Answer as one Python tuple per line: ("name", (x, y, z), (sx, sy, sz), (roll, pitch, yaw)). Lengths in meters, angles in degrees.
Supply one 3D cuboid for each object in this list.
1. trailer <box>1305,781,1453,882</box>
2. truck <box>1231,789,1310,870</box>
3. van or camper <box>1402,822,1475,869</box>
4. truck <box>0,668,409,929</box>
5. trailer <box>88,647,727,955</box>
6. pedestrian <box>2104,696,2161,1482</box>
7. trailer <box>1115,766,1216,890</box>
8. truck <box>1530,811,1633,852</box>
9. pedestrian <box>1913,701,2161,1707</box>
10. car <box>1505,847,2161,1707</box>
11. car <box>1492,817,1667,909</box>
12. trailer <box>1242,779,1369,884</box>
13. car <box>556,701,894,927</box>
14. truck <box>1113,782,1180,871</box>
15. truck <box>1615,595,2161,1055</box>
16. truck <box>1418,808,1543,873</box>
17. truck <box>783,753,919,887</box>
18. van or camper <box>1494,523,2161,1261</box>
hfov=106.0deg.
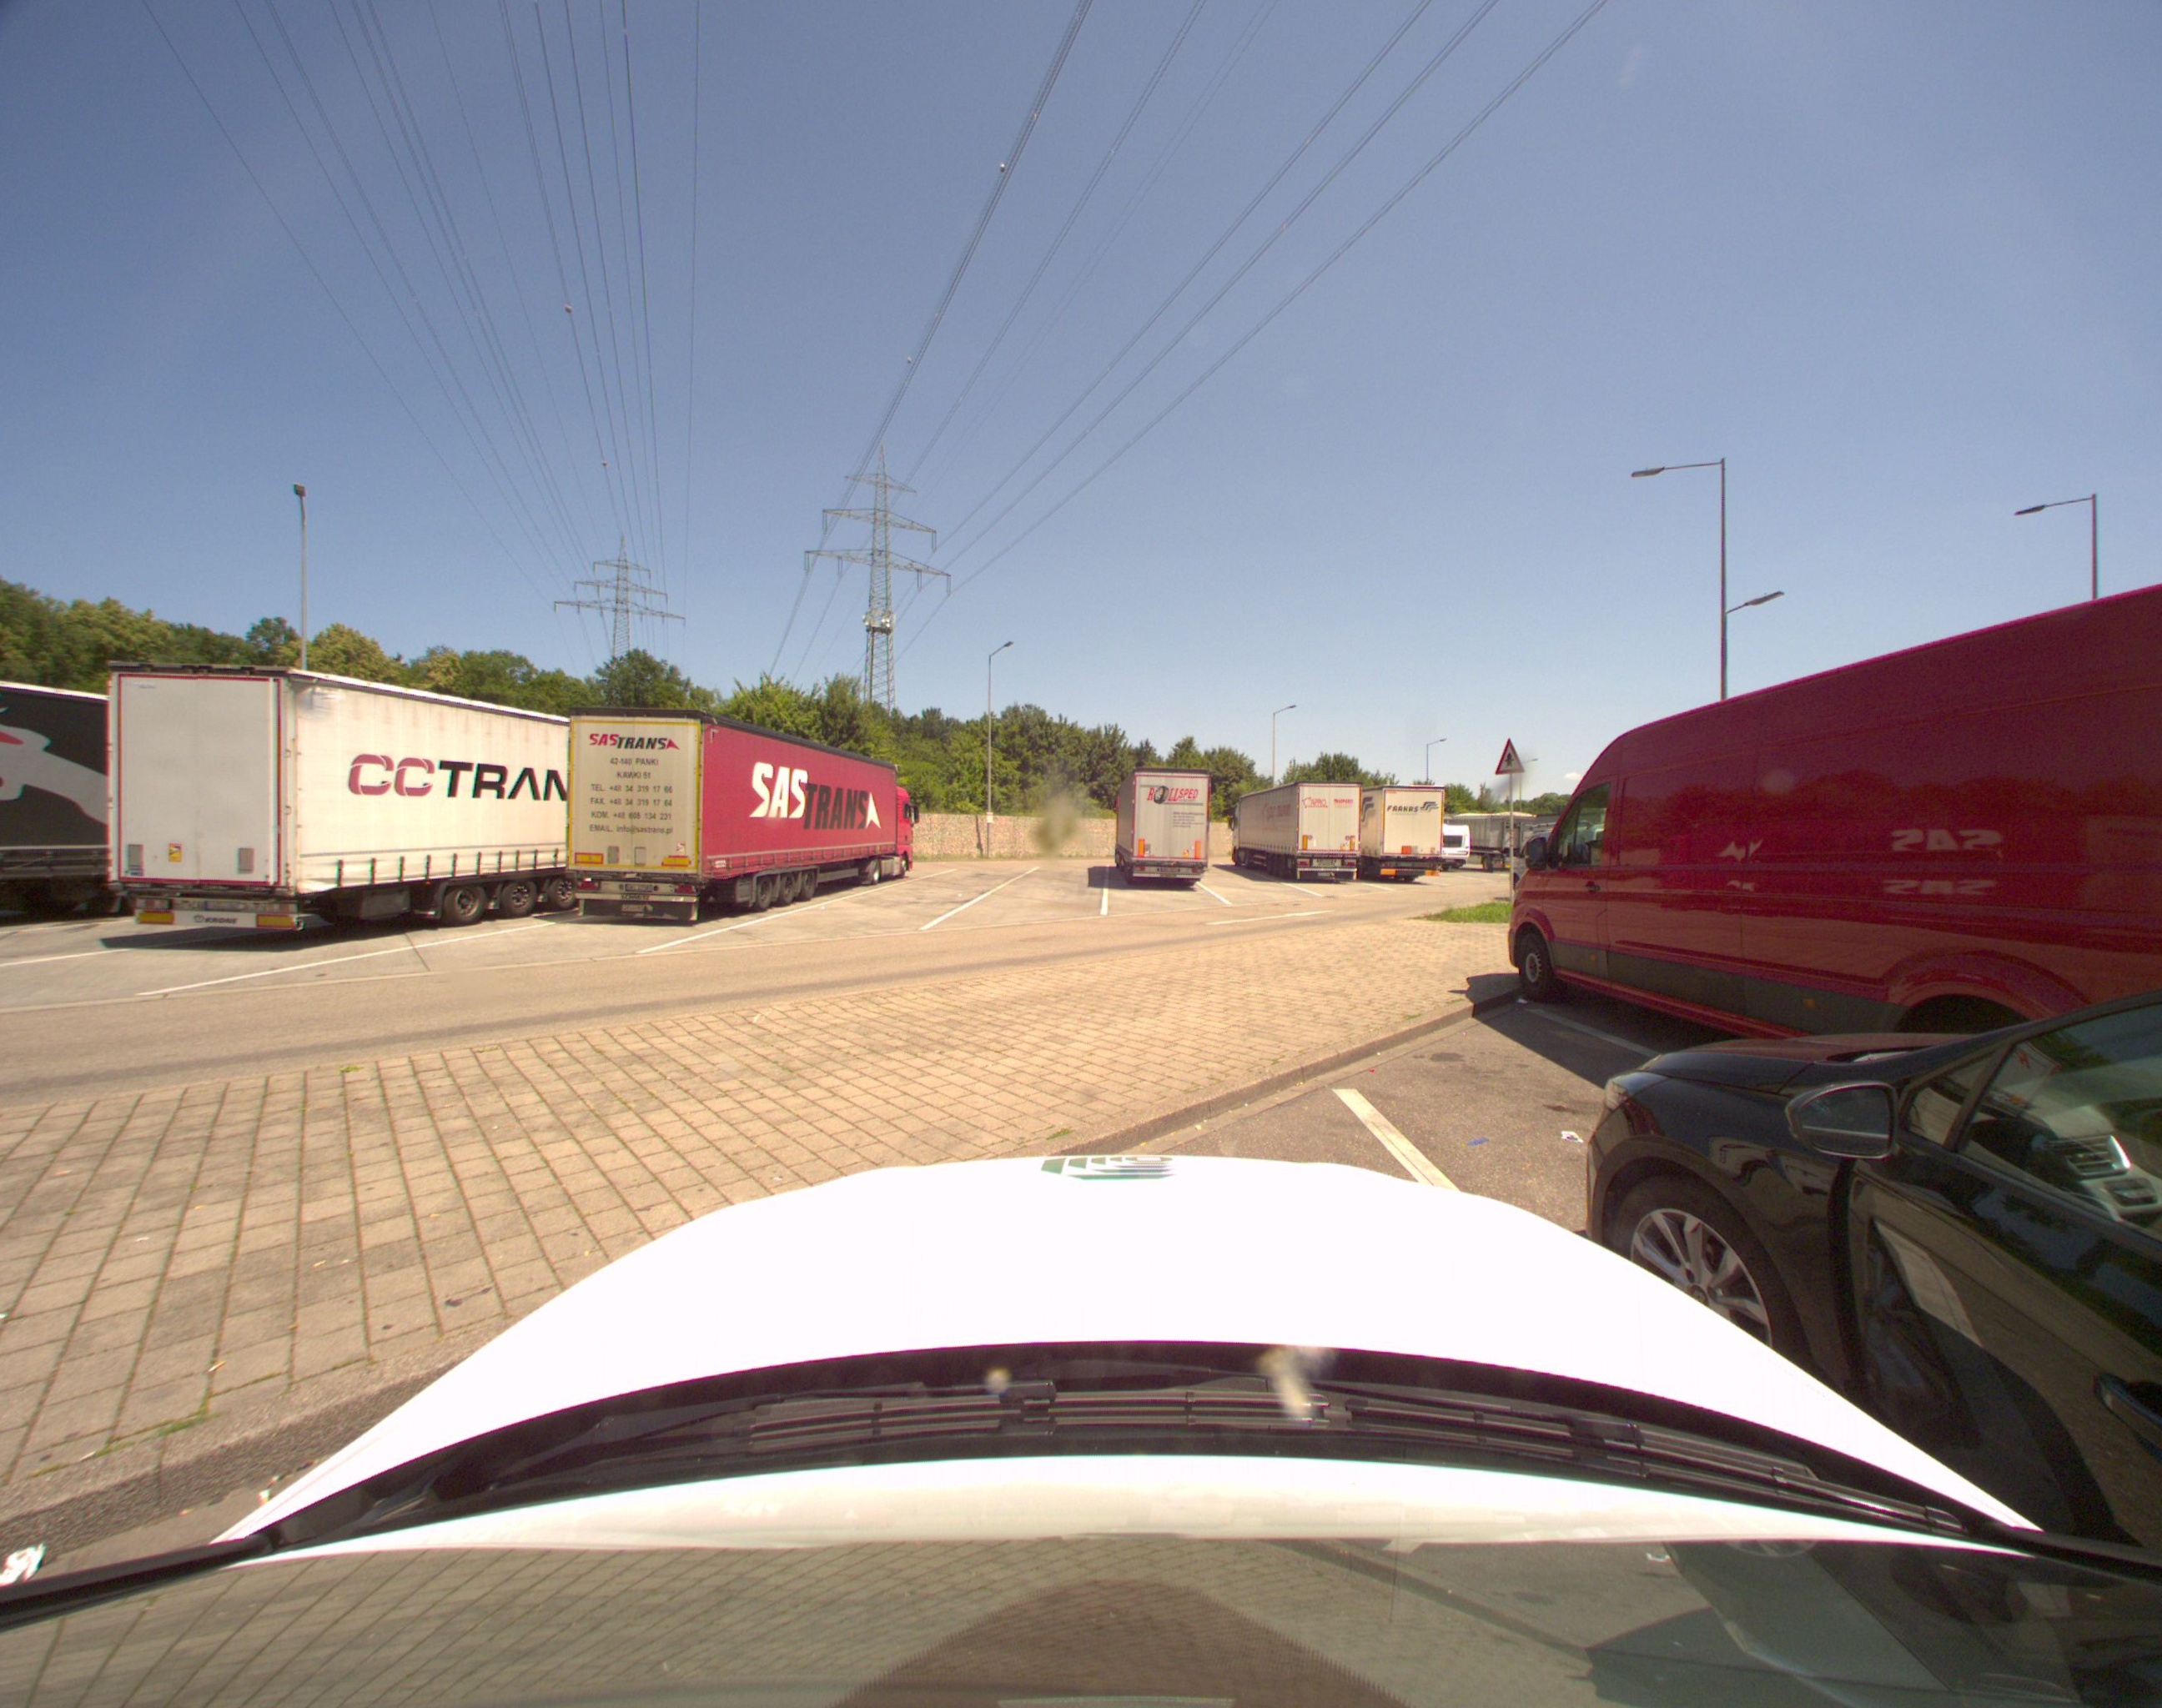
("trailer", (13.646, -1.133, 38.878), (2.856, 4.037, 12.445), (0, 2, 2))
("truck", (10.185, -1.375, 44.535), (2.856, 4.037, 6.960), (0, 2, 2))
("van or camper", (20.620, -0.484, 47.226), (2.096, 2.561, 5.376), (-1, 1, 3))
("truck", (-18.614, -1.020, 16.273), (2.803, 4.190, 8.793), (0, 2, 2))
("trailer", (-12.159, -0.976, 17.791), (2.803, 4.266, 12.947), (0, 2, 2))
("pedestrian", (2.977, 0.563, 1.616), (0.770, 1.872, 0.915), (-1, 1, -5))
("trailer", (3.050, -1.109, 33.731), (2.857, 4.037, 14.244), (0, 2, 1))
("truck", (38.040, -1.662, 62.378), (2.117, 2.820, 9.783), (-1, 1, 2))
("pedestrian", (1.524, 0.623, 0.882), (0.647, 1.586, 0.652), (0, 1, 18))
("car", (2.458, 0.748, 1.142), (1.612, 1.483, 3.762), (-1, 1, -4))
("car", (13.186, 0.214, 22.018), (1.983, 2.150, 5.323), (-1, 0, 7))
("trailer", (9.959, -1.111, 37.903), (2.856, 4.037, 12.445), (0, 2, 2))
("car", (-8.045, -0.936, 21.435), (2.686, 4.112, 12.943), (1, 2, 2))
("truck", (3.143, -1.398, 40.819), (2.857, 4.037, 7.029), (0, 2, 1))
("truck", (7.942, -0.219, 7.066), (2.455, 2.792, 6.978), (0, 1, 4))
("truck", (24.305, -0.970, 50.501), (2.478, 3.568, 11.429), (0, 2, 2))
("truck", (-7.745, -1.155, 28.352), (2.686, 4.112, 6.243), (1, 2, 2))
("van or camper", (5.142, 0.093, 5.494), (1.986, 2.654, 6.490), (-1, 1, 6))
